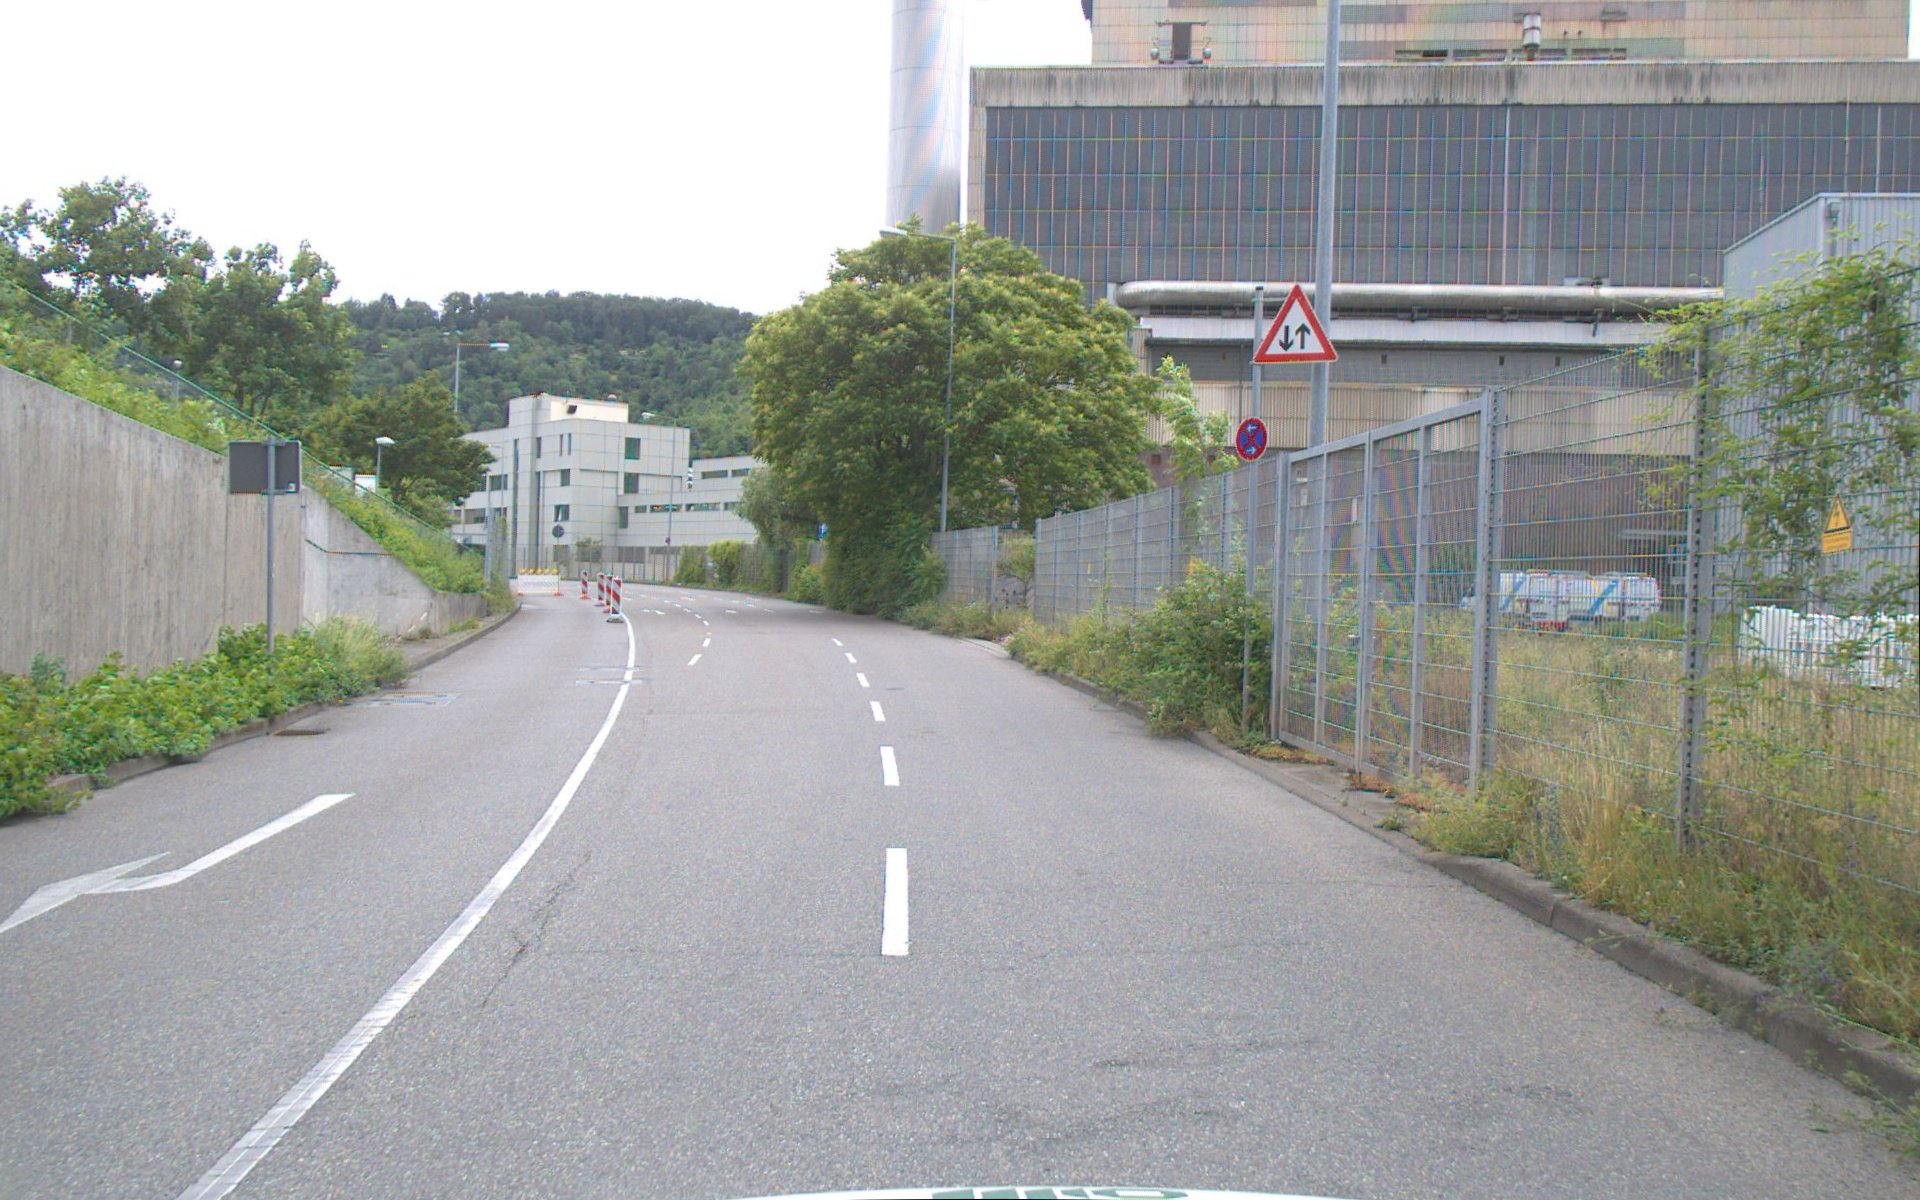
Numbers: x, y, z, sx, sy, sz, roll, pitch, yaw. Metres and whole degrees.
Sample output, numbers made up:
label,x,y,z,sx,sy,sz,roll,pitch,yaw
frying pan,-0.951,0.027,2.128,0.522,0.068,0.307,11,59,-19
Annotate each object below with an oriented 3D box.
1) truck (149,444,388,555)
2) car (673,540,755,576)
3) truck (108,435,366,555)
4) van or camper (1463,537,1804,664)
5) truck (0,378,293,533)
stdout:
label,x,y,z,sx,sy,sz,roll,pitch,yaw
truck,-26.029,-3.677,62.522,7.790,3.600,3.009,2,-1,-40
car,-17.955,-3.081,120.368,6.042,2.302,1.994,4,1,33
truck,-25.196,-3.541,57.827,7.779,3.600,3.013,2,-1,-37
van or camper,26.639,0.087,65.736,11.605,4.610,5.467,1,-1,-14
truck,-23.455,-3.928,46.632,8.082,3.600,3.007,2,-1,-41
